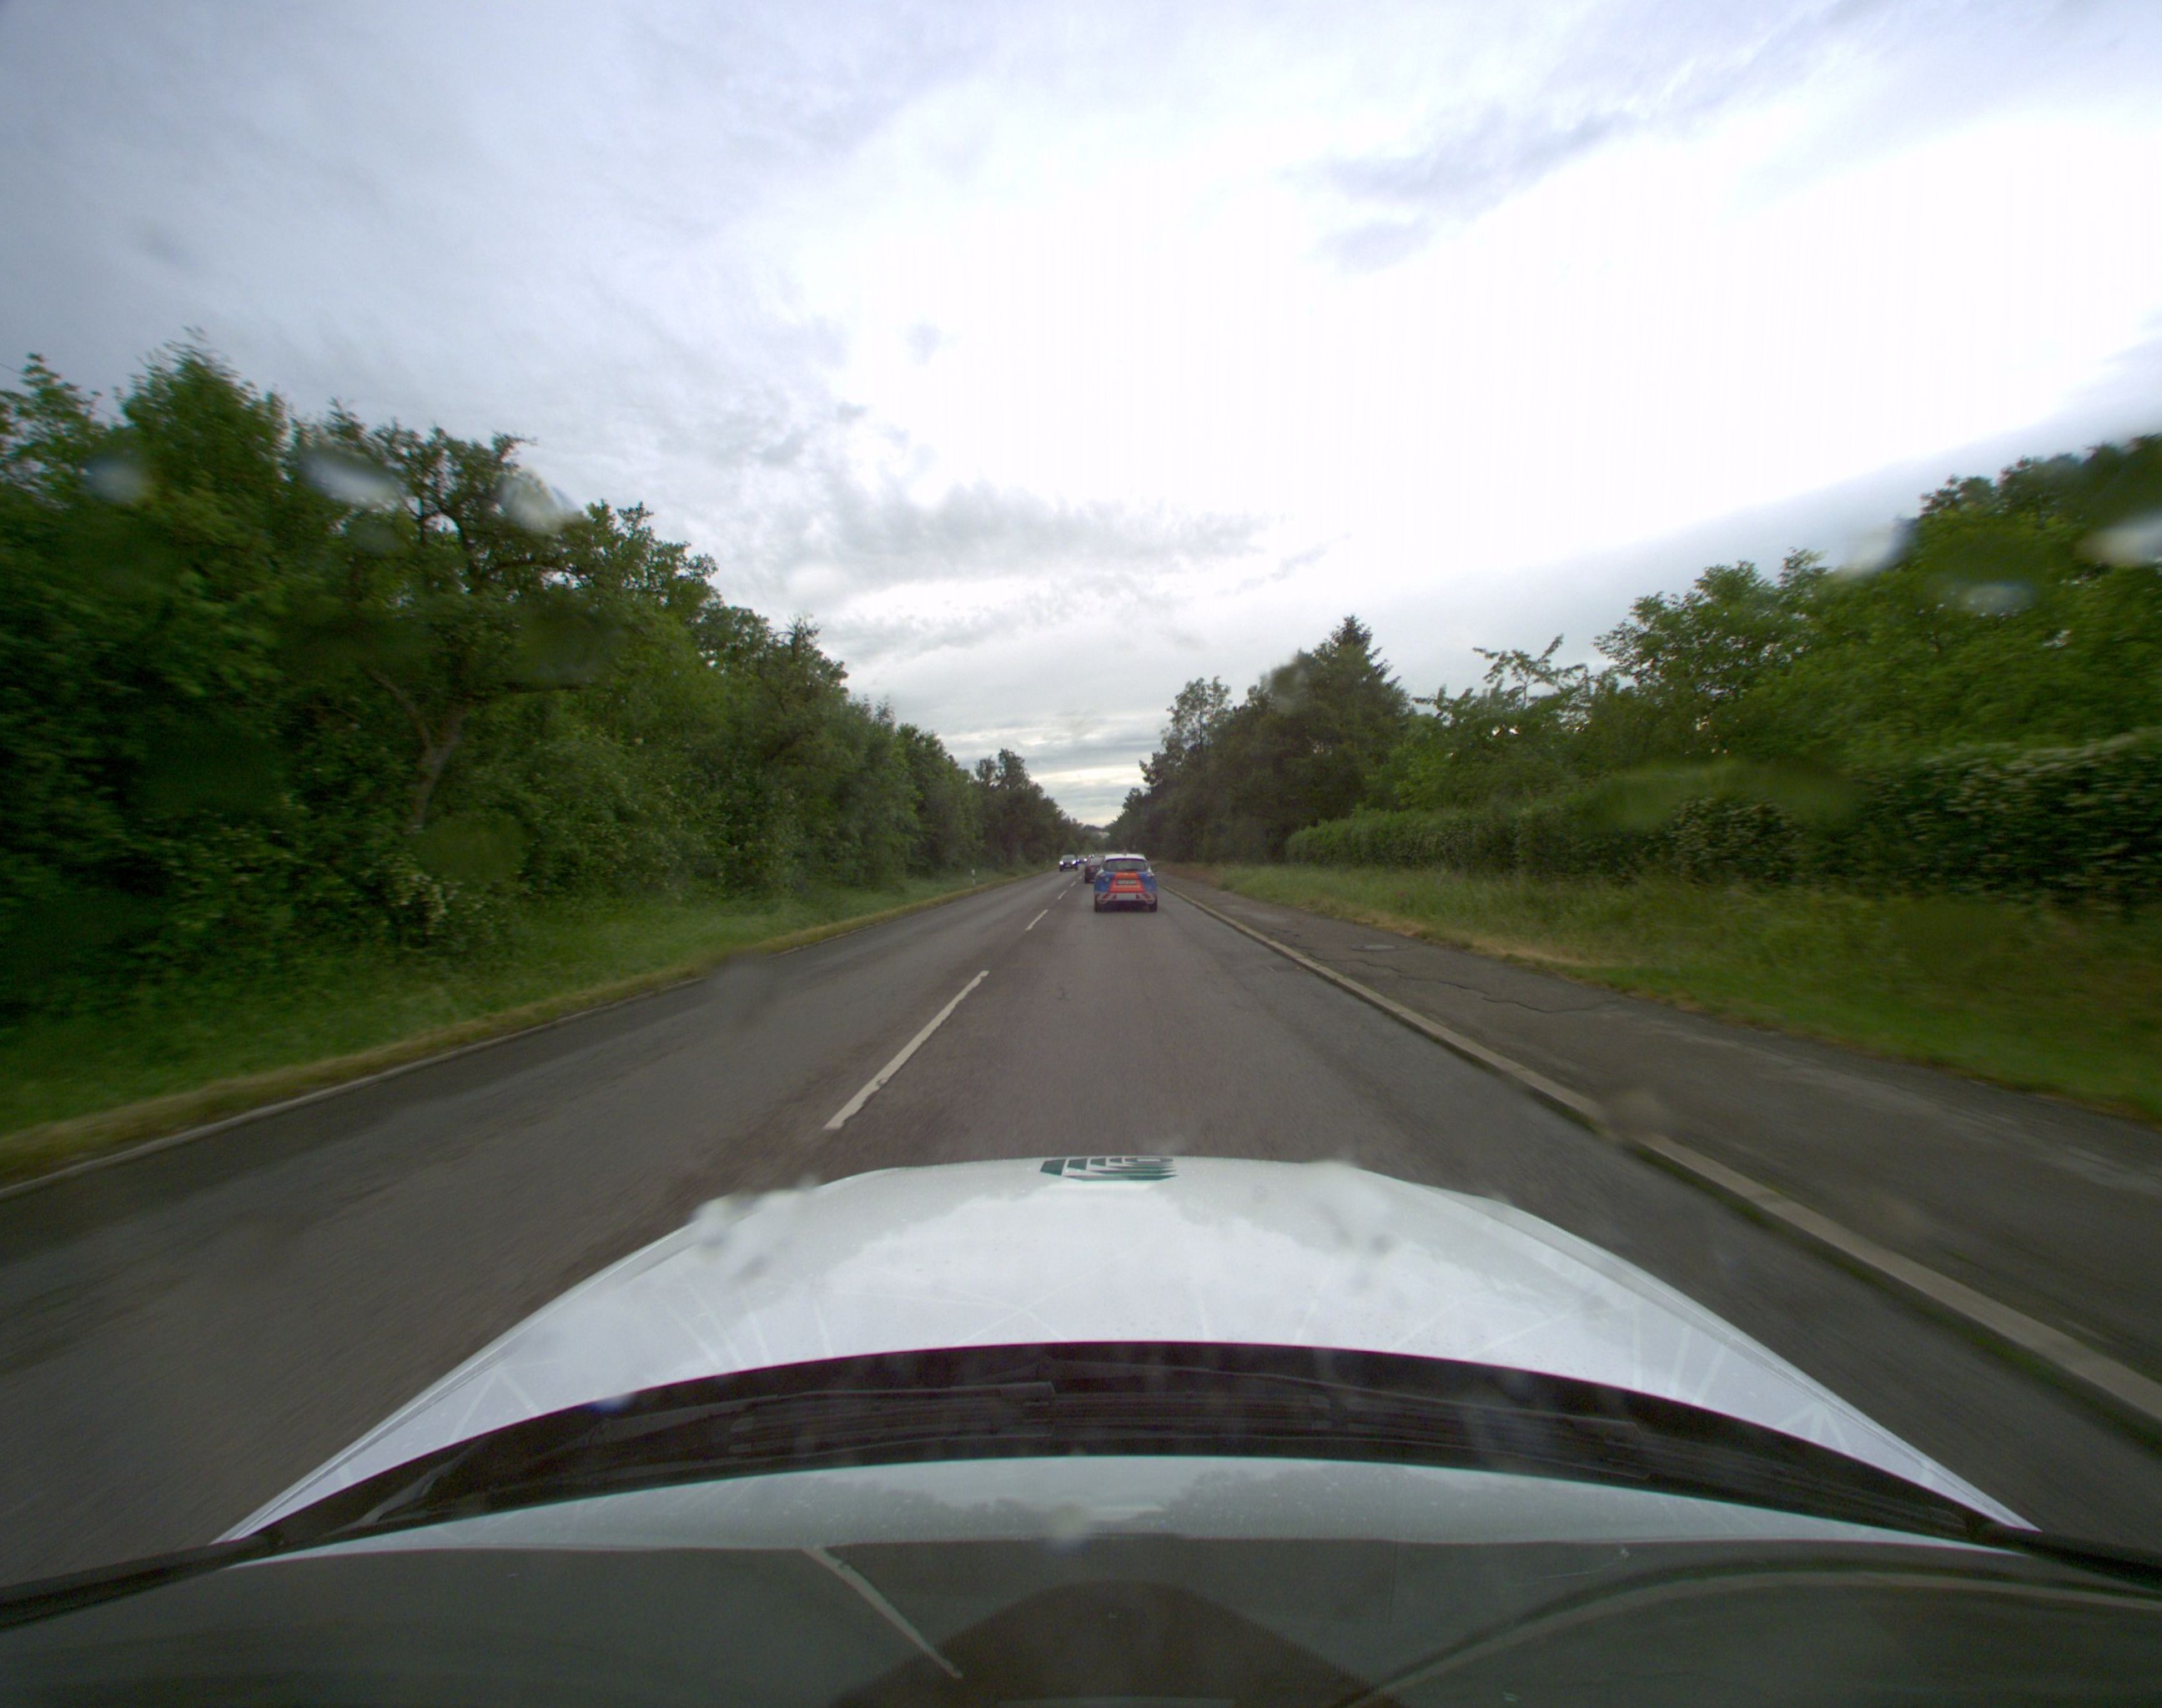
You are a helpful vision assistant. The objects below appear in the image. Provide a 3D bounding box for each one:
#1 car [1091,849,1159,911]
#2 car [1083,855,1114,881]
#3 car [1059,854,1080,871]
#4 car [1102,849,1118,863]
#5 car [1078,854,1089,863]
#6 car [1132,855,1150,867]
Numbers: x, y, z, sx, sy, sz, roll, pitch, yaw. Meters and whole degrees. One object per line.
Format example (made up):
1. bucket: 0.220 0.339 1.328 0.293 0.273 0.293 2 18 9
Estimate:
1. car: 1.198 0.658 23.150 1.746 1.555 3.794 -1 1 1
2. car: 1.000 0.750 44.788 1.592 1.287 3.478 -3 0 2
3. car: -1.170 0.870 83.958 1.898 1.556 4.518 -3 0 2
4. car: 3.928 0.285 109.774 1.987 1.823 4.001 -3 0 1
5. car: 0.378 0.687 136.612 1.704 1.399 4.150 -4 0 1
6. car: 7.380 0.856 100.442 1.986 1.376 4.002 -3 0 2
